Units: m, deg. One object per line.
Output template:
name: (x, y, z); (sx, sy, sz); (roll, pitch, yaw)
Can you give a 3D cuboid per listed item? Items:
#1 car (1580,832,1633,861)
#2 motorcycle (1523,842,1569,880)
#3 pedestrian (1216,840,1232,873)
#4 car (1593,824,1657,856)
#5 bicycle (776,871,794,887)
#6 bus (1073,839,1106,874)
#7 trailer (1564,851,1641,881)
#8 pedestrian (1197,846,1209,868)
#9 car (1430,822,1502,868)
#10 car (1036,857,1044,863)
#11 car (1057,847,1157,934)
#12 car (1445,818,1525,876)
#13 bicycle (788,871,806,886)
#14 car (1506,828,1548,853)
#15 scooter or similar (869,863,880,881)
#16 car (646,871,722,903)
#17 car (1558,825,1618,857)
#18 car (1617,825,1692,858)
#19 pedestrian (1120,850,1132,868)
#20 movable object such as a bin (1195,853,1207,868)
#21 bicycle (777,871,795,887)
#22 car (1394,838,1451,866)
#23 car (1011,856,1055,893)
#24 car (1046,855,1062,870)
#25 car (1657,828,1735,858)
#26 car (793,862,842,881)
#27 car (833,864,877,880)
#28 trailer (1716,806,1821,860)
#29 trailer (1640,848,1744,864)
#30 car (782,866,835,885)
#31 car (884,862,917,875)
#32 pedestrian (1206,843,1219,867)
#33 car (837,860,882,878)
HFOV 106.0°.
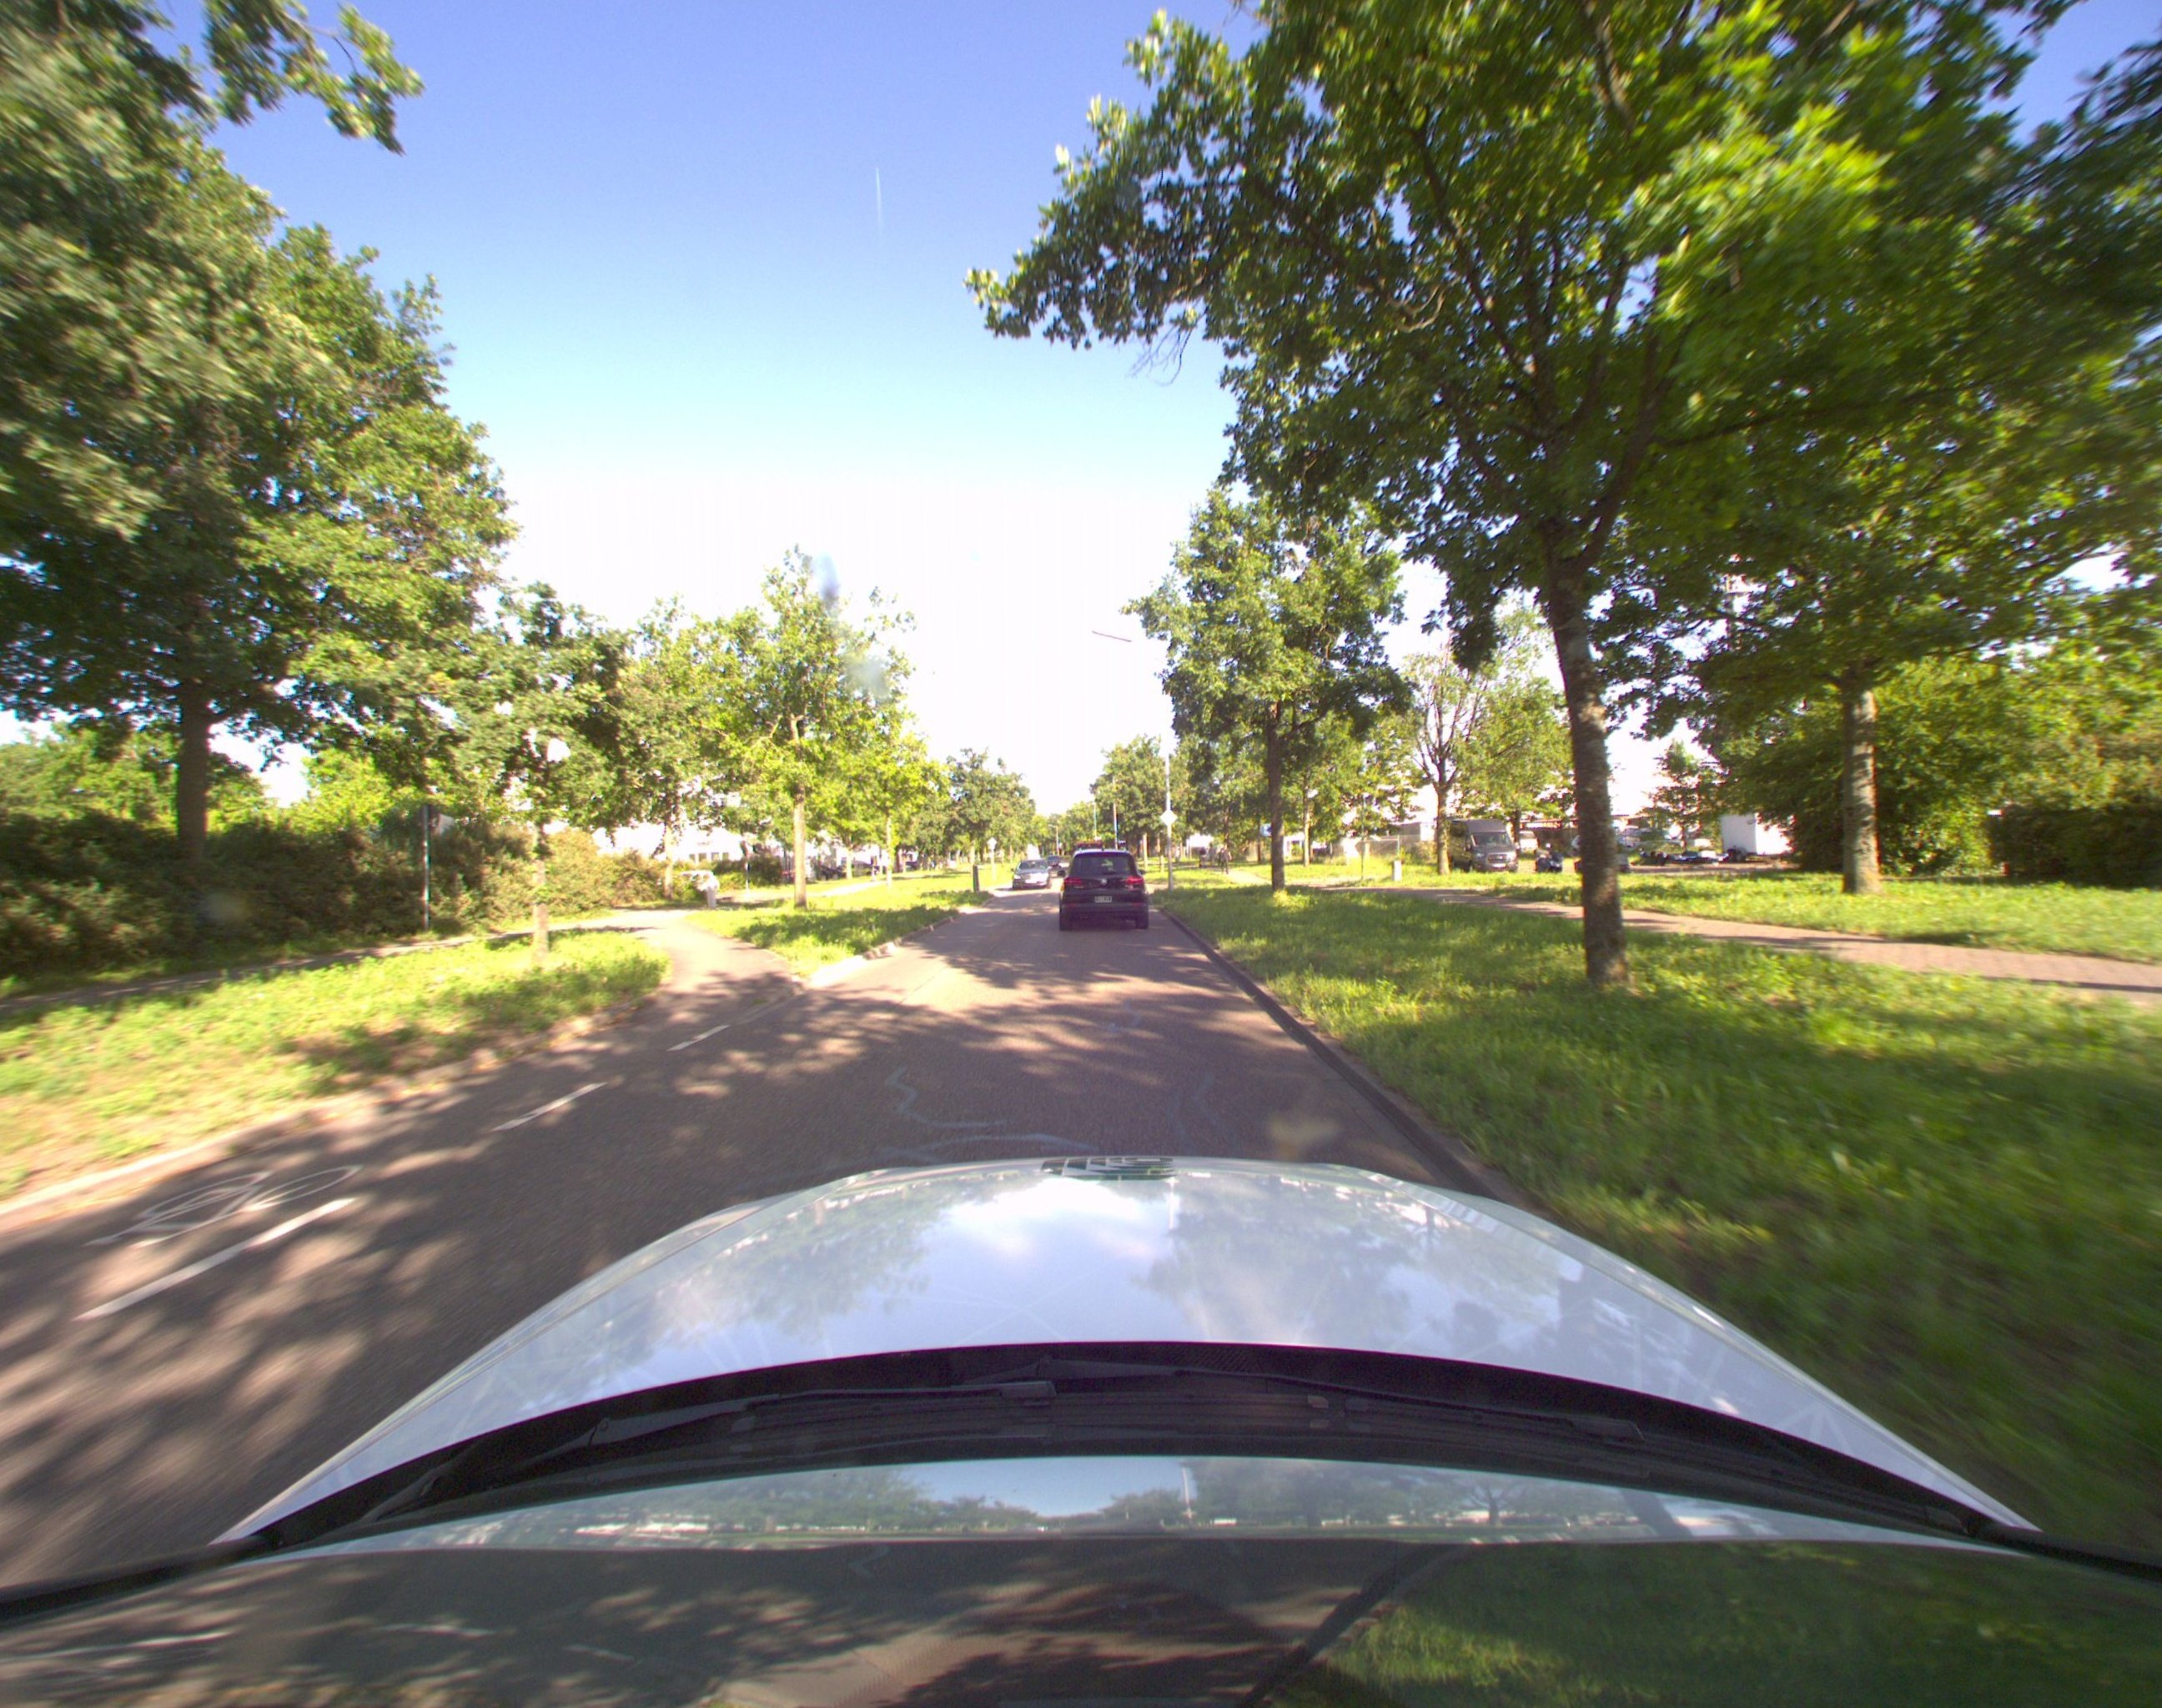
car: (31.319, -0.457, 48.652); (1.819, 1.640, 4.021); (-3, 0, 21)
motorcycle: (17.090, 0.288, 29.989); (0.658, 1.231, 2.413); (-2, -4, 11)
pedestrian: (8.124, 0.118, 46.284); (0.723, 1.812, 0.867); (-2, 2, -1)
car: (39.153, -1.059, 58.778); (2.071, 2.061, 5.031); (-1, 3, 12)
bicycle: (-22.416, 1.875, 61.738); (0.637, 1.087, 1.890); (-2, 0, -1)
bus: (0.789, 0.280, 89.540); (2.759, 3.456, 11.196); (-2, 0, -3)
trailer: (17.896, 0.443, 28.049); (1.568, 0.868, 2.060); (-2, -4, 12)
pedestrian: (9.014, 0.198, 60.169); (0.723, 1.603, 0.867); (-2, 0, -1)
car: (24.108, -0.540, 51.279); (2.153, 2.643, 4.850); (-2, 0, 0)
car: (-10.437, 1.484, 209.380); (1.738, 1.465, 4.427); (-3, 0, 0)
car: (0.490, 0.697, 18.082); (1.930, 1.656, 4.426); (-1, 0, -1)
car: (19.834, -0.445, 40.298); (2.071, 2.565, 5.993); (-1, 3, 12)
bicycle: (-21.422, 1.832, 61.450); (0.637, 1.087, 1.890); (-2, 0, -1)
car: (32.392, -0.985, 59.263); (1.820, 1.640, 4.018); (-3, 0, 17)
scooter or similar: (-15.067, 1.283, 59.385); (0.393, 1.279, 1.441); (-2, 0, 1)
car: (-23.344, 1.919, 48.062); (1.981, 1.504, 3.930); (-2, 2, 11)
car: (36.778, -0.994, 59.246); (2.071, 2.061, 5.031); (-1, 3, 12)
car: (34.354, -0.723, 48.894); (1.983, 1.823, 4.008); (-3, 0, 7)
pedestrian: (4.384, 0.500, 78.611); (1.016, 1.651, 1.099); (-2, 0, -1)
movable object such as a bin: (9.005, 0.477, 61.049); (0.723, 1.081, 0.867); (-4, 0, -1)
bicycle: (-21.725, 1.842, 60.038); (0.637, 1.087, 1.890); (-2, 0, -1)
car: (21.534, -0.119, 51.516); (1.999, 1.664, 3.596); (-2, 0, 0)
car: (-2.234, 0.930, 39.015); (1.760, 1.528, 4.494); (-4, 0, -1)
car: (-3.166, 0.995, 96.141); (1.799, 1.536, 4.492); (-4, 0, -1)
car: (36.593, -0.634, 48.597); (1.983, 1.592, 4.008); (-3, 0, 7)
car: (-24.434, 1.635, 75.502); (4.012, 1.511, 1.784); (-2, 1, -30)
car: (-23.472, 1.846, 84.653); (3.976, 1.401, 1.976); (-2, 0, -42)
trailer: (32.350, -0.948, 38.470); (2.174, 2.307, 3.802); (-2, 0, 12)
trailer: (29.422, 0.088, 39.434); (2.213, 0.651, 4.838); (-2, 0, 12)
car: (-24.227, 1.917, 72.420); (4.023, 1.448, 1.779); (-2, 0, -44)
car: (-24.476, 1.920, 110.554); (3.715, 1.618, 1.971); (-2, 0, 14)
pedestrian: (9.906, 0.079, 61.261); (0.723, 1.755, 0.867); (-4, 0, -1)
car: (-26.921, 1.824, 99.231); (4.886, 2.013, 1.976); (-2, 0, -42)
